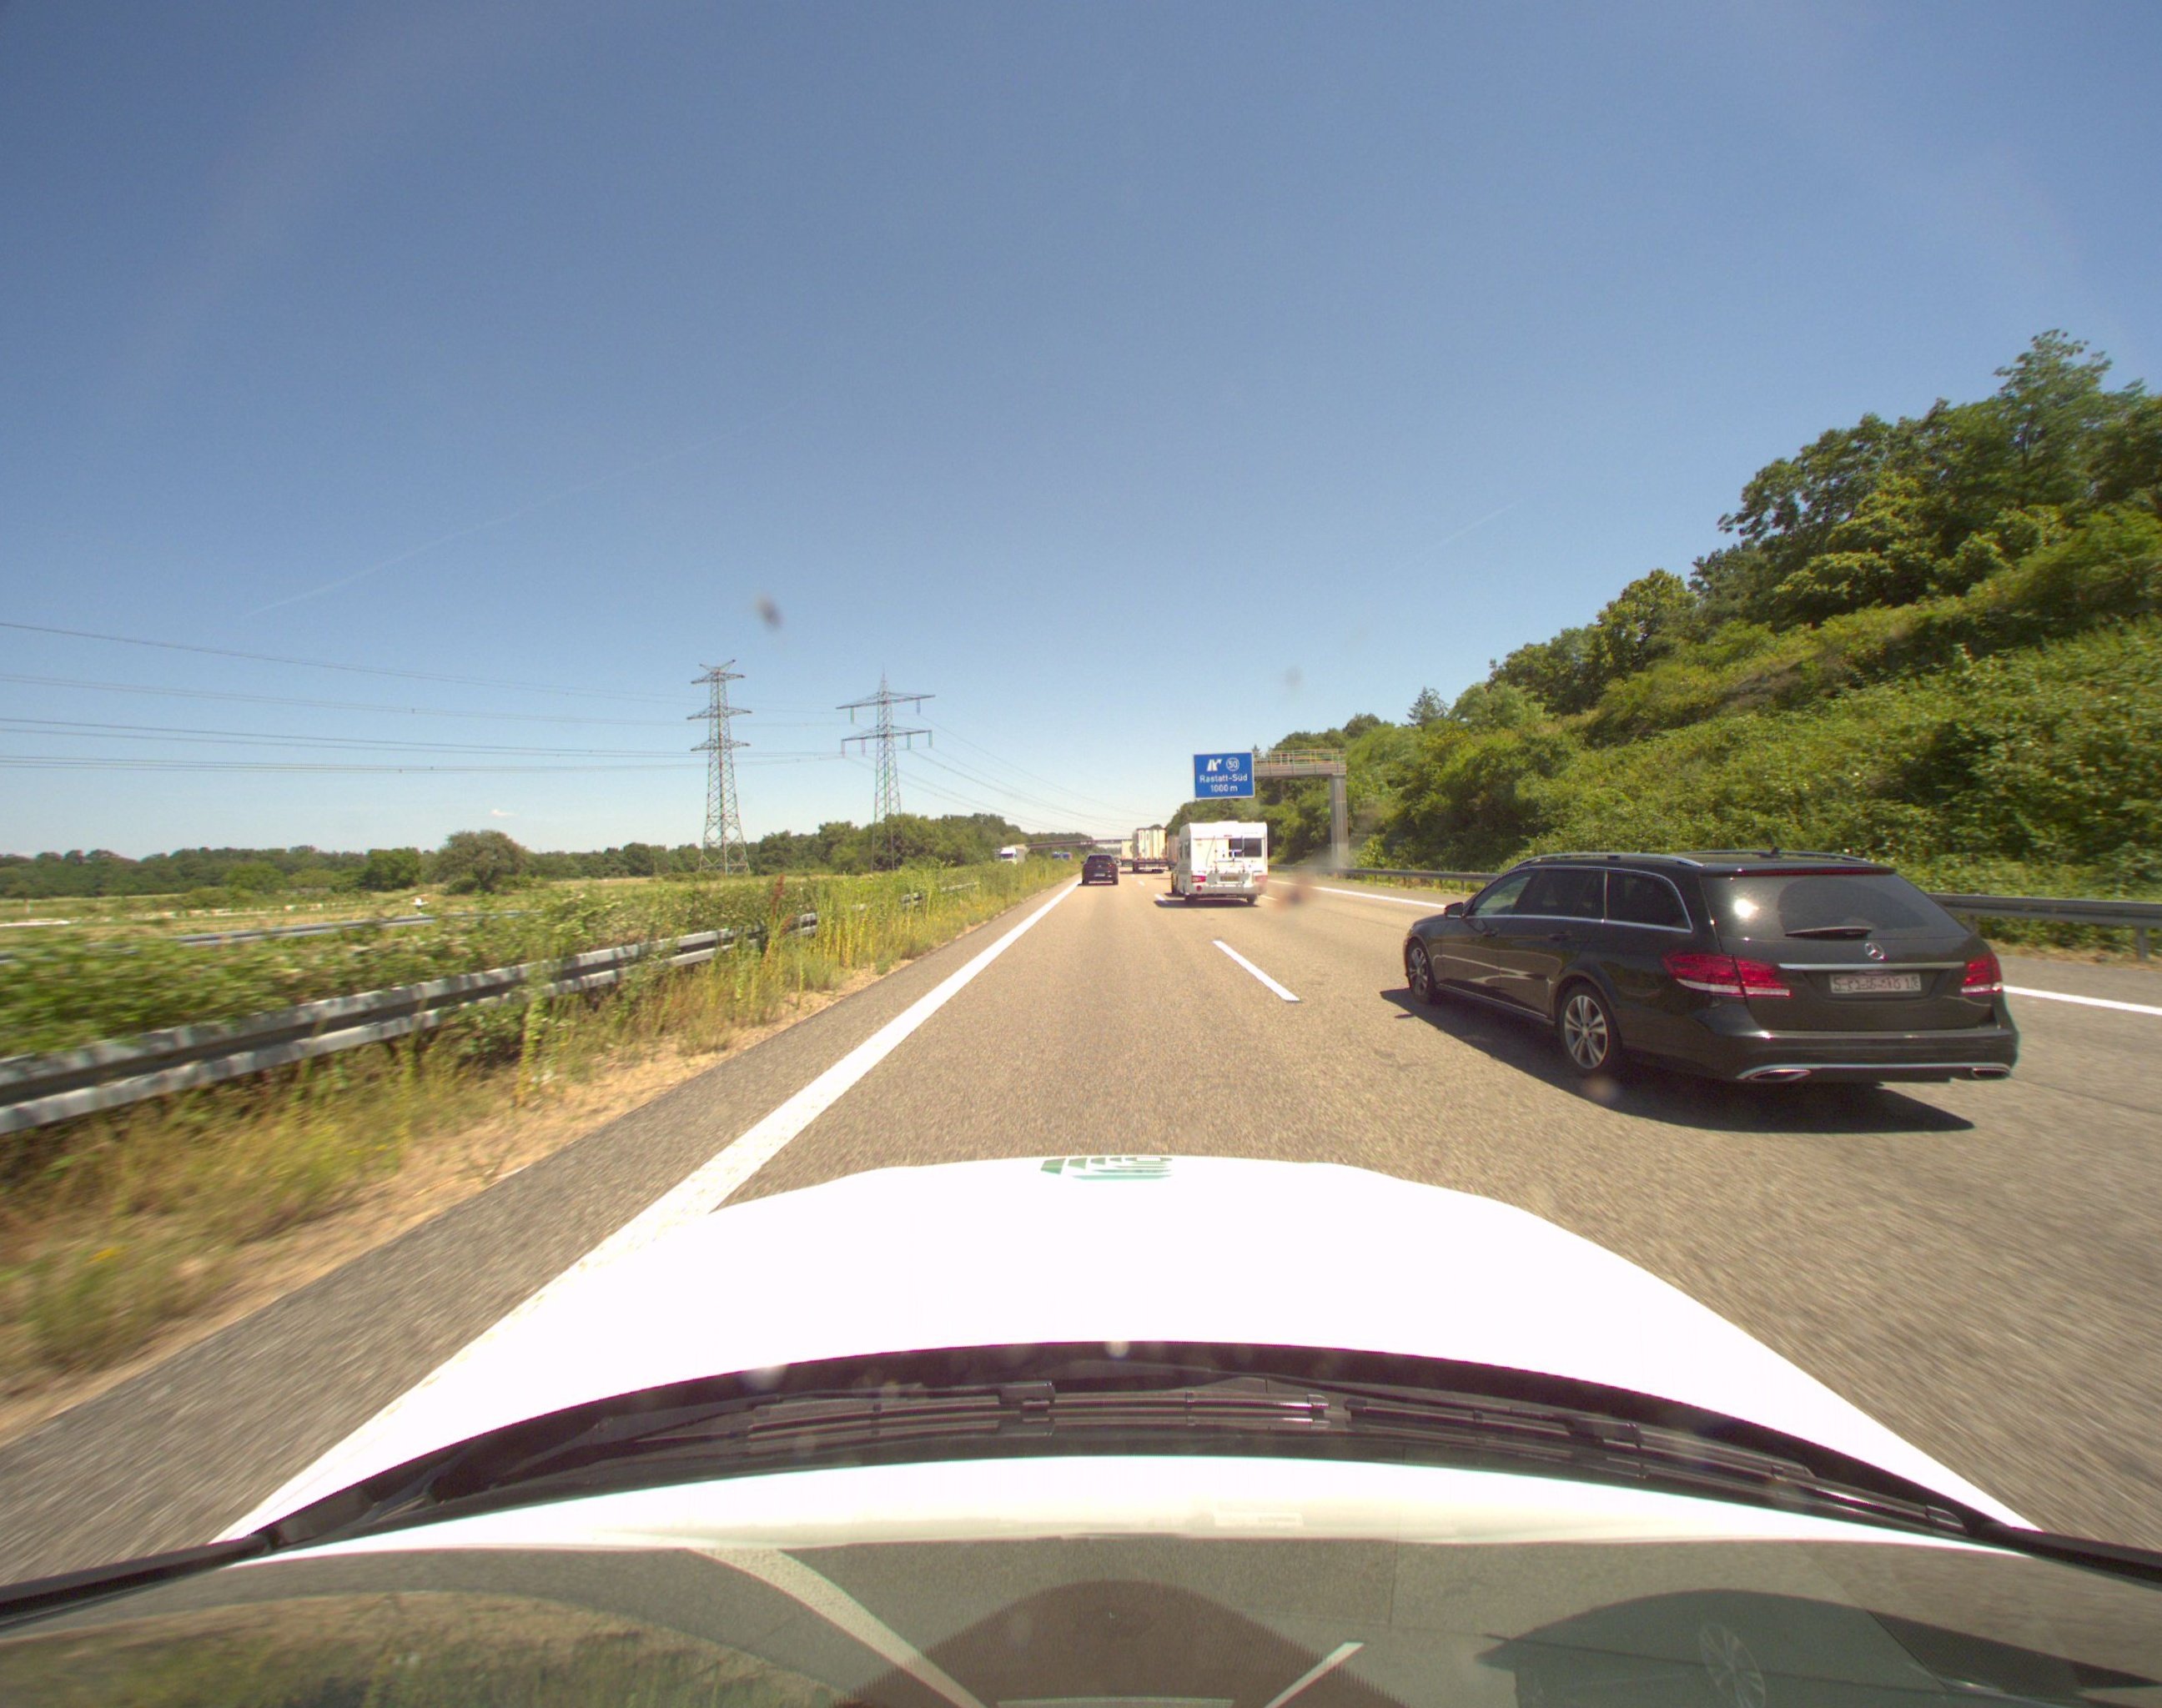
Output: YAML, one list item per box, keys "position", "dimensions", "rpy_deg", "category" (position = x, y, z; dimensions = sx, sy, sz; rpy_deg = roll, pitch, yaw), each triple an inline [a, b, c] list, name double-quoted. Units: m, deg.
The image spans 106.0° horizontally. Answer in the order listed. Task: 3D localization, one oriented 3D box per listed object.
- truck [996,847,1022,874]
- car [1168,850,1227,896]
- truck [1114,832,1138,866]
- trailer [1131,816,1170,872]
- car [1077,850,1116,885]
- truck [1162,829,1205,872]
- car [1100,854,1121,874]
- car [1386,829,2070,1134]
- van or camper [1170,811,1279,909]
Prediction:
- position: [-12.620, 1.078, 143.166]
  dimensions: [3.354, 4.408, 6.561]
  rpy_deg: [-3, 0, 3]
  category: "truck"
- position: [4.462, 0.687, 31.723]
  dimensions: [1.871, 1.612, 4.706]
  rpy_deg: [-1, 0, 3]
  category: "car"
- position: [7.069, -0.743, 129.184]
  dimensions: [3.498, 5.166, 10.263]
  rpy_deg: [-1, 0, 2]
  category: "truck"
- position: [6.427, -0.791, 77.012]
  dimensions: [3.075, 4.885, 12.264]
  rpy_deg: [0, -1, 2]
  category: "trailer"
- position: [0.858, 0.717, 45.160]
  dimensions: [1.986, 1.772, 4.001]
  rpy_deg: [-2, 0, 1]
  category: "car"
- position: [10.853, -0.303, 87.525]
  dimensions: [3.557, 4.245, 11.657]
  rpy_deg: [0, -1, 2]
  category: "truck"
- position: [2.847, 0.928, 79.126]
  dimensions: [1.955, 1.814, 4.449]
  rpy_deg: [-2, 0, 1]
  category: "car"
- position: [4.244, 0.652, 6.596]
  dimensions: [1.834, 1.505, 4.740]
  rpy_deg: [-3, 0, 2]
  category: "car"
- position: [4.398, 0.170, 26.199]
  dimensions: [2.430, 2.675, 6.350]
  rpy_deg: [-2, 0, 1]
  category: "van or camper"
